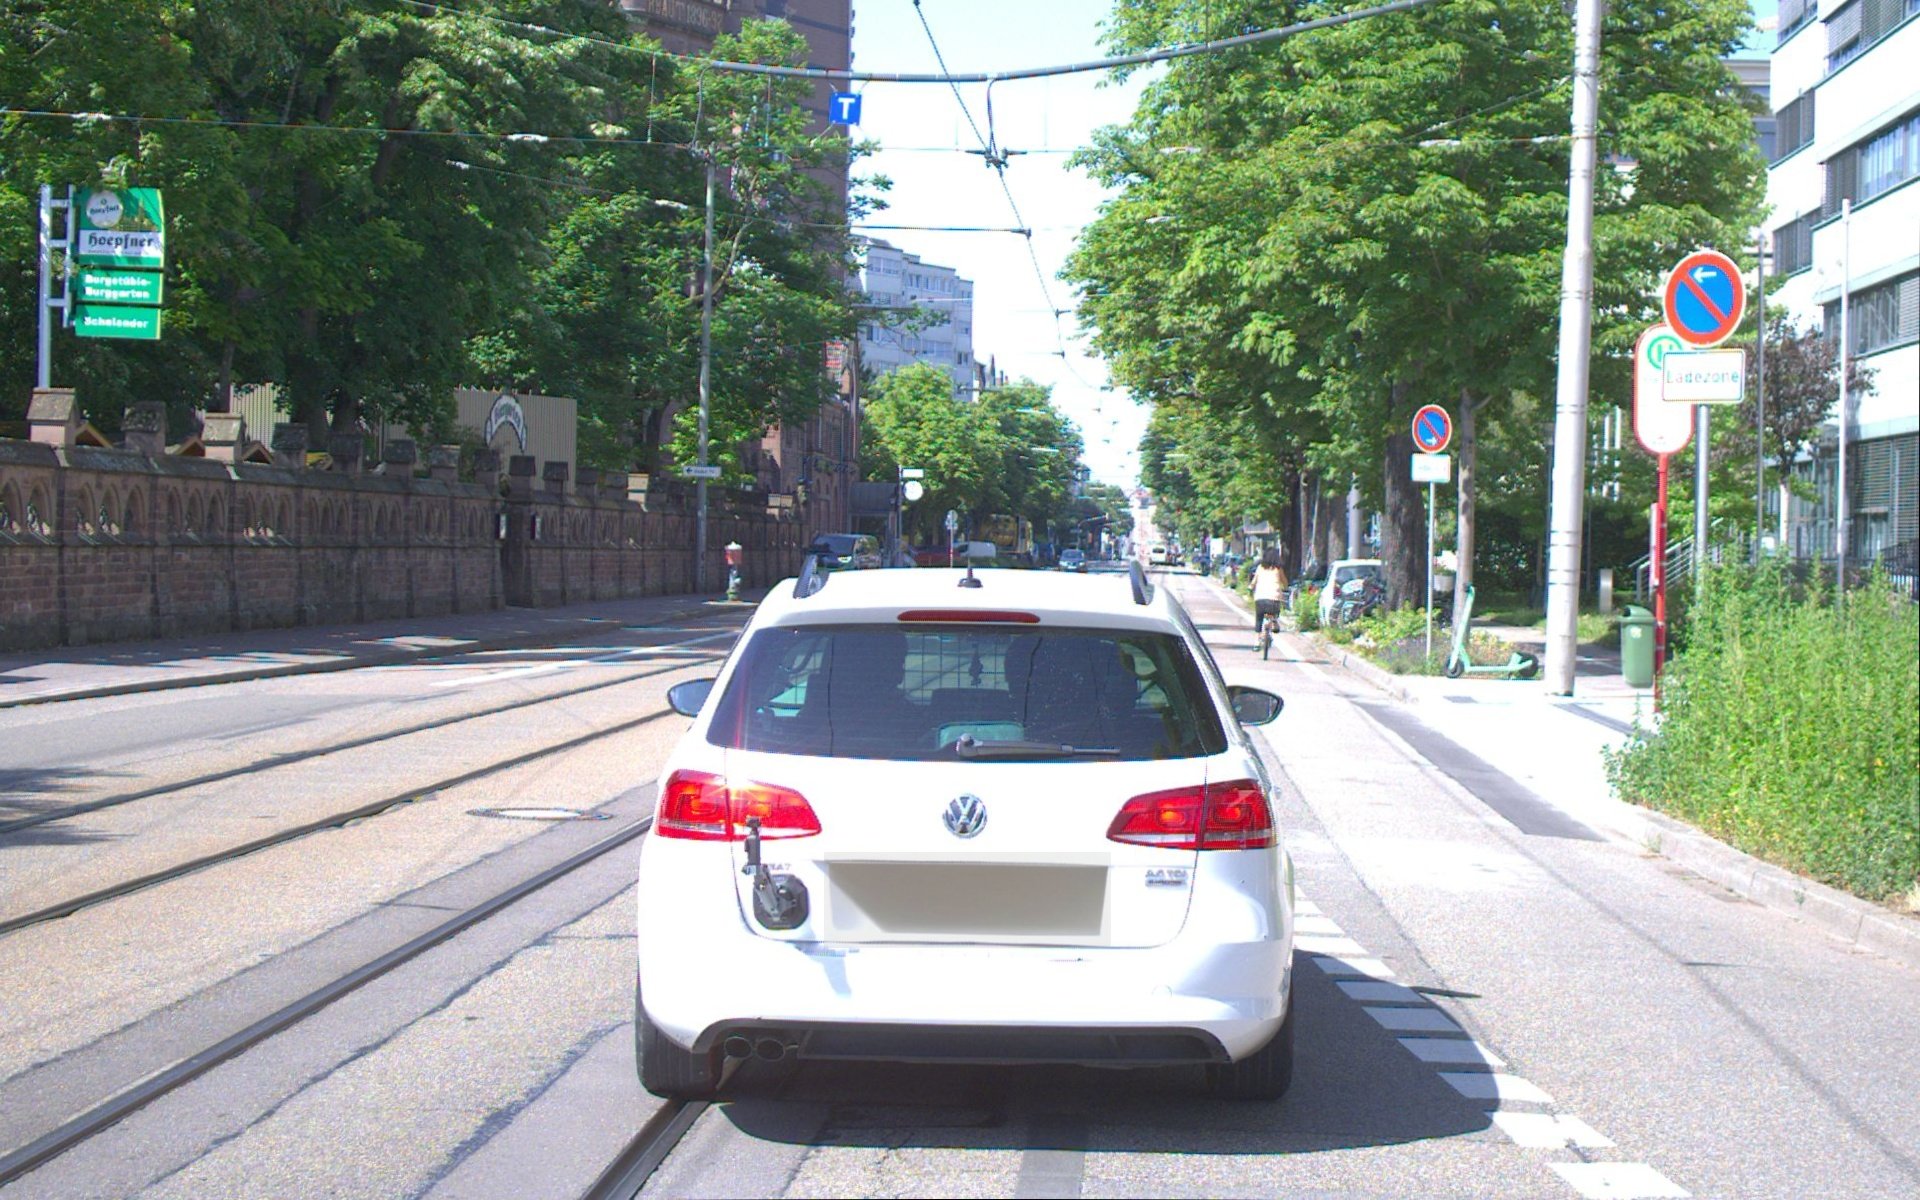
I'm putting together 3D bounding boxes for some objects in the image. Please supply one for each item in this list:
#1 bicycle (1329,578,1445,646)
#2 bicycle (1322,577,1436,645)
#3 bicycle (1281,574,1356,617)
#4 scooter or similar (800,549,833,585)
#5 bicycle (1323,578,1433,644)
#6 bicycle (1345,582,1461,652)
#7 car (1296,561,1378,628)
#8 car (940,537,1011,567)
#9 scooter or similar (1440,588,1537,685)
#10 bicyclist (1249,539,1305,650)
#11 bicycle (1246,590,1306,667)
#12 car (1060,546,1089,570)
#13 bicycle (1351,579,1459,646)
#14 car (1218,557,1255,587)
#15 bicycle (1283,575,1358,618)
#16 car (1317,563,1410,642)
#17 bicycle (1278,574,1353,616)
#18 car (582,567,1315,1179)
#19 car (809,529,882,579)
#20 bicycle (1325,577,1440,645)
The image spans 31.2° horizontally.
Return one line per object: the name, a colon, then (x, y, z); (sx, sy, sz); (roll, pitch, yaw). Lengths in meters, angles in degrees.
bicycle: (7.516, 0.206, 60.562); (1.911, 1.079, 0.551); (3, 1, 1)
bicycle: (7.527, 0.188, 61.776); (1.911, 1.079, 0.551); (4, 1, 1)
bicycle: (8.882, -0.112, 85.199); (1.787, 1.007, 0.488); (1, 1, -1)
scooter or similar: (-4.668, -1.074, 111.548); (0.405, 1.151, 1.141); (1, 1, 38)
bicycle: (7.581, 0.195, 62.415); (1.885, 1.079, 0.551); (3, 1, 1)
bicycle: (7.156, 0.271, 55.580); (1.774, 1.079, 0.596); (1, 1, 1)
car: (8.557, -0.141, 78.314); (1.664, 1.439, 4.633); (1, 1, 4)
car: (0.990, -3.060, 219.242); (3.987, 1.809, 2.000); (1, 1, -32)
scooter or similar: (6.561, 0.452, 42.648); (1.143, 1.150, 0.493); (2, 1, 10)
bicyclist: (4.700, -0.081, 50.969); (0.786, 1.623, 0.738); (1, 1, 4)
bicycle: (4.680, 0.411, 51.033); (0.811, 1.074, 2.012); (2, 1, 4)
car: (6.807, -2.483, 204.073); (1.493, 1.380, 3.642); (1, 1, 4)
bicycle: (7.668, 0.207, 59.300); (1.774, 1.116, 0.596); (1, 1, 1)
car: (13.408, -1.357, 166.693); (1.714, 1.396, 3.842); (1, 1, 5)
bicycle: (8.867, -0.091, 84.622); (1.787, 1.007, 0.488); (1, 1, -1)
car: (7.776, 0.027, 66.452); (1.591, 1.446, 3.945); (1, 1, 4)
bicycle: (8.869, -0.130, 85.785); (1.787, 1.007, 0.488); (1, 1, -1)
car: (0.065, 0.629, 10.439); (1.754, 1.437, 4.412); (0, 1, 3)
car: (-4.173, -1.685, 125.725); (1.994, 1.751, 4.711); (1, 1, 6)
bicycle: (7.511, 0.191, 61.162); (1.911, 1.079, 0.551); (4, 1, 1)
